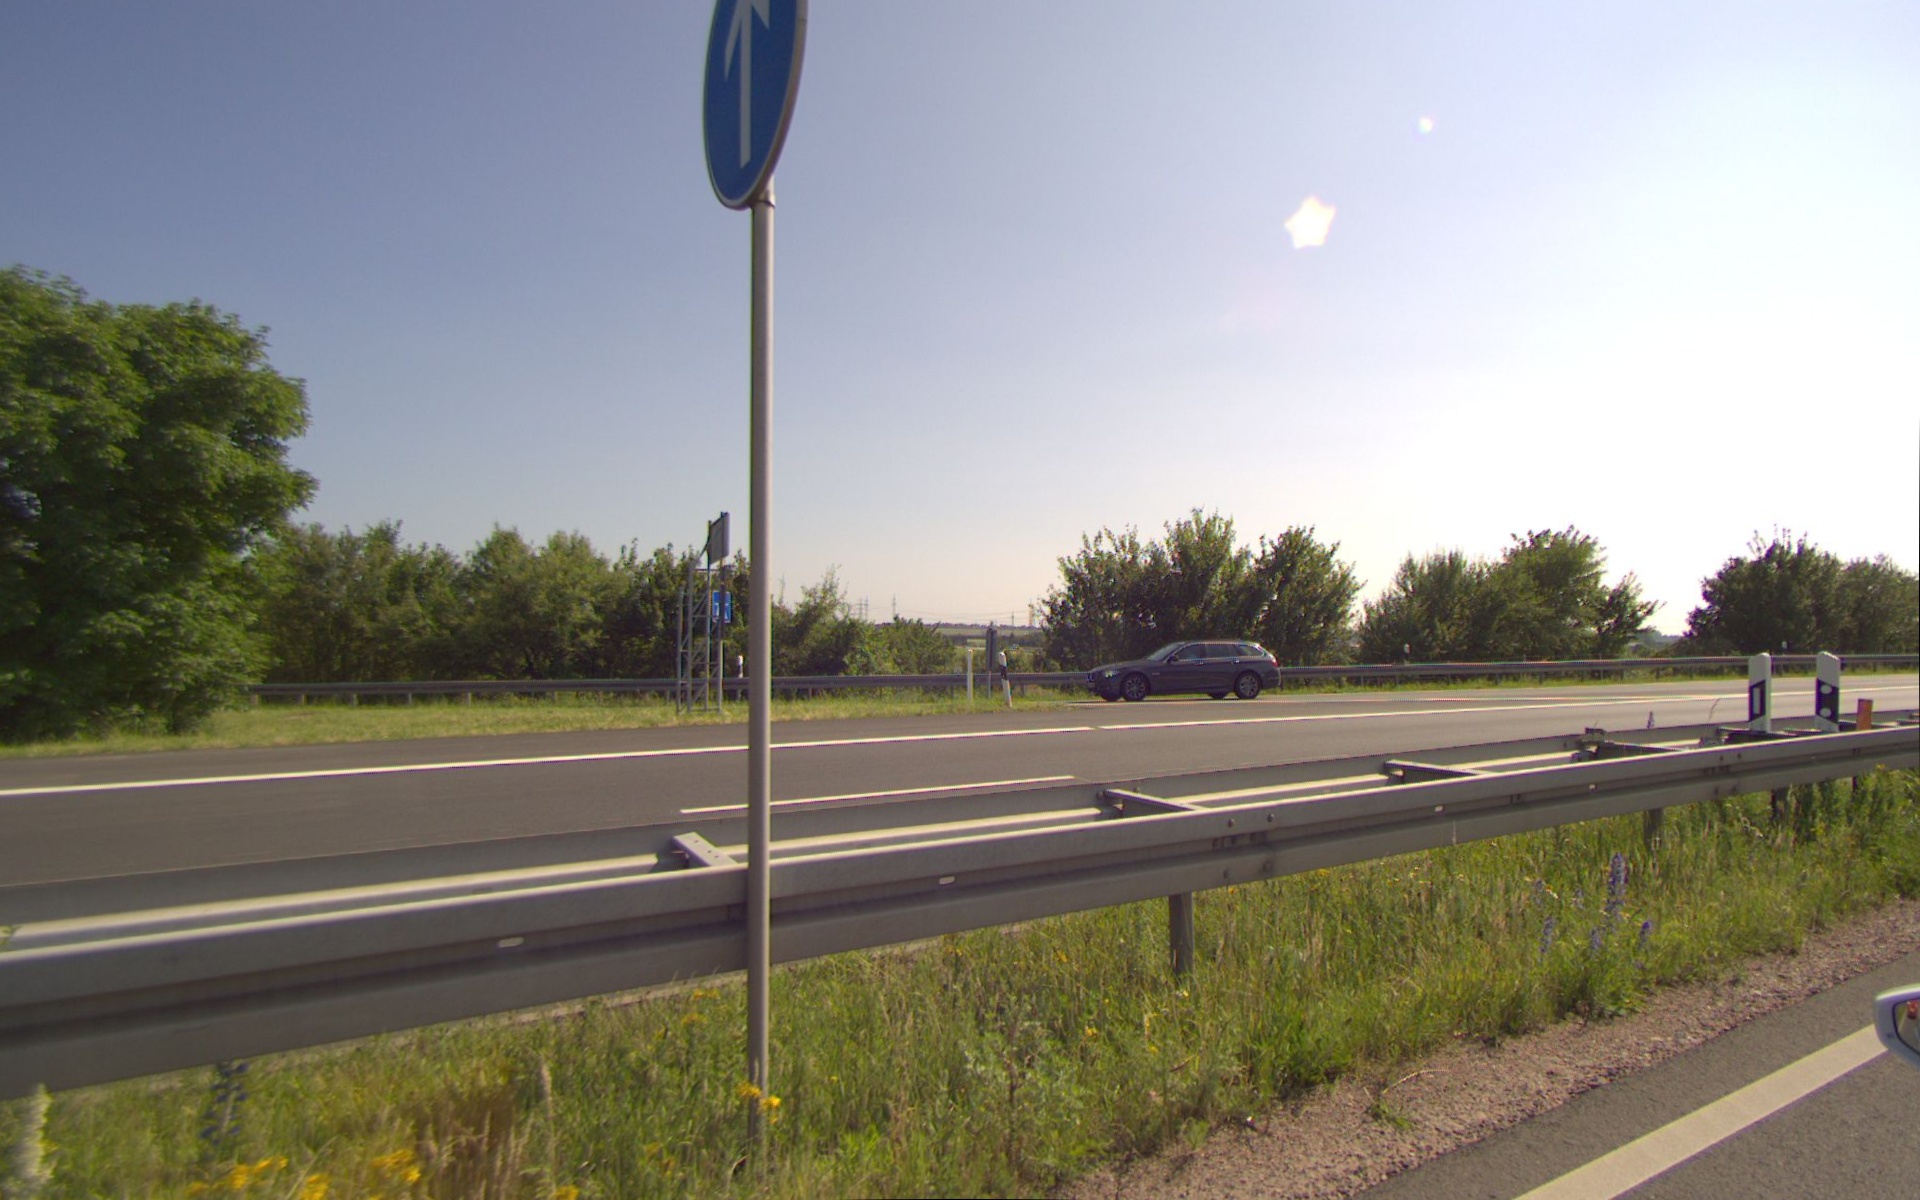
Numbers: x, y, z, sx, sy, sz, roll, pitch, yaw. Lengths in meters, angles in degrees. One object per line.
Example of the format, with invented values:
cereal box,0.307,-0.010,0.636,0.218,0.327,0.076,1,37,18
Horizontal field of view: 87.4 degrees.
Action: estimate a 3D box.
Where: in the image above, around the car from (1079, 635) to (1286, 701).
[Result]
car,5.454,1.681,24.819,4.728,1.513,1.596,0,-5,-11
